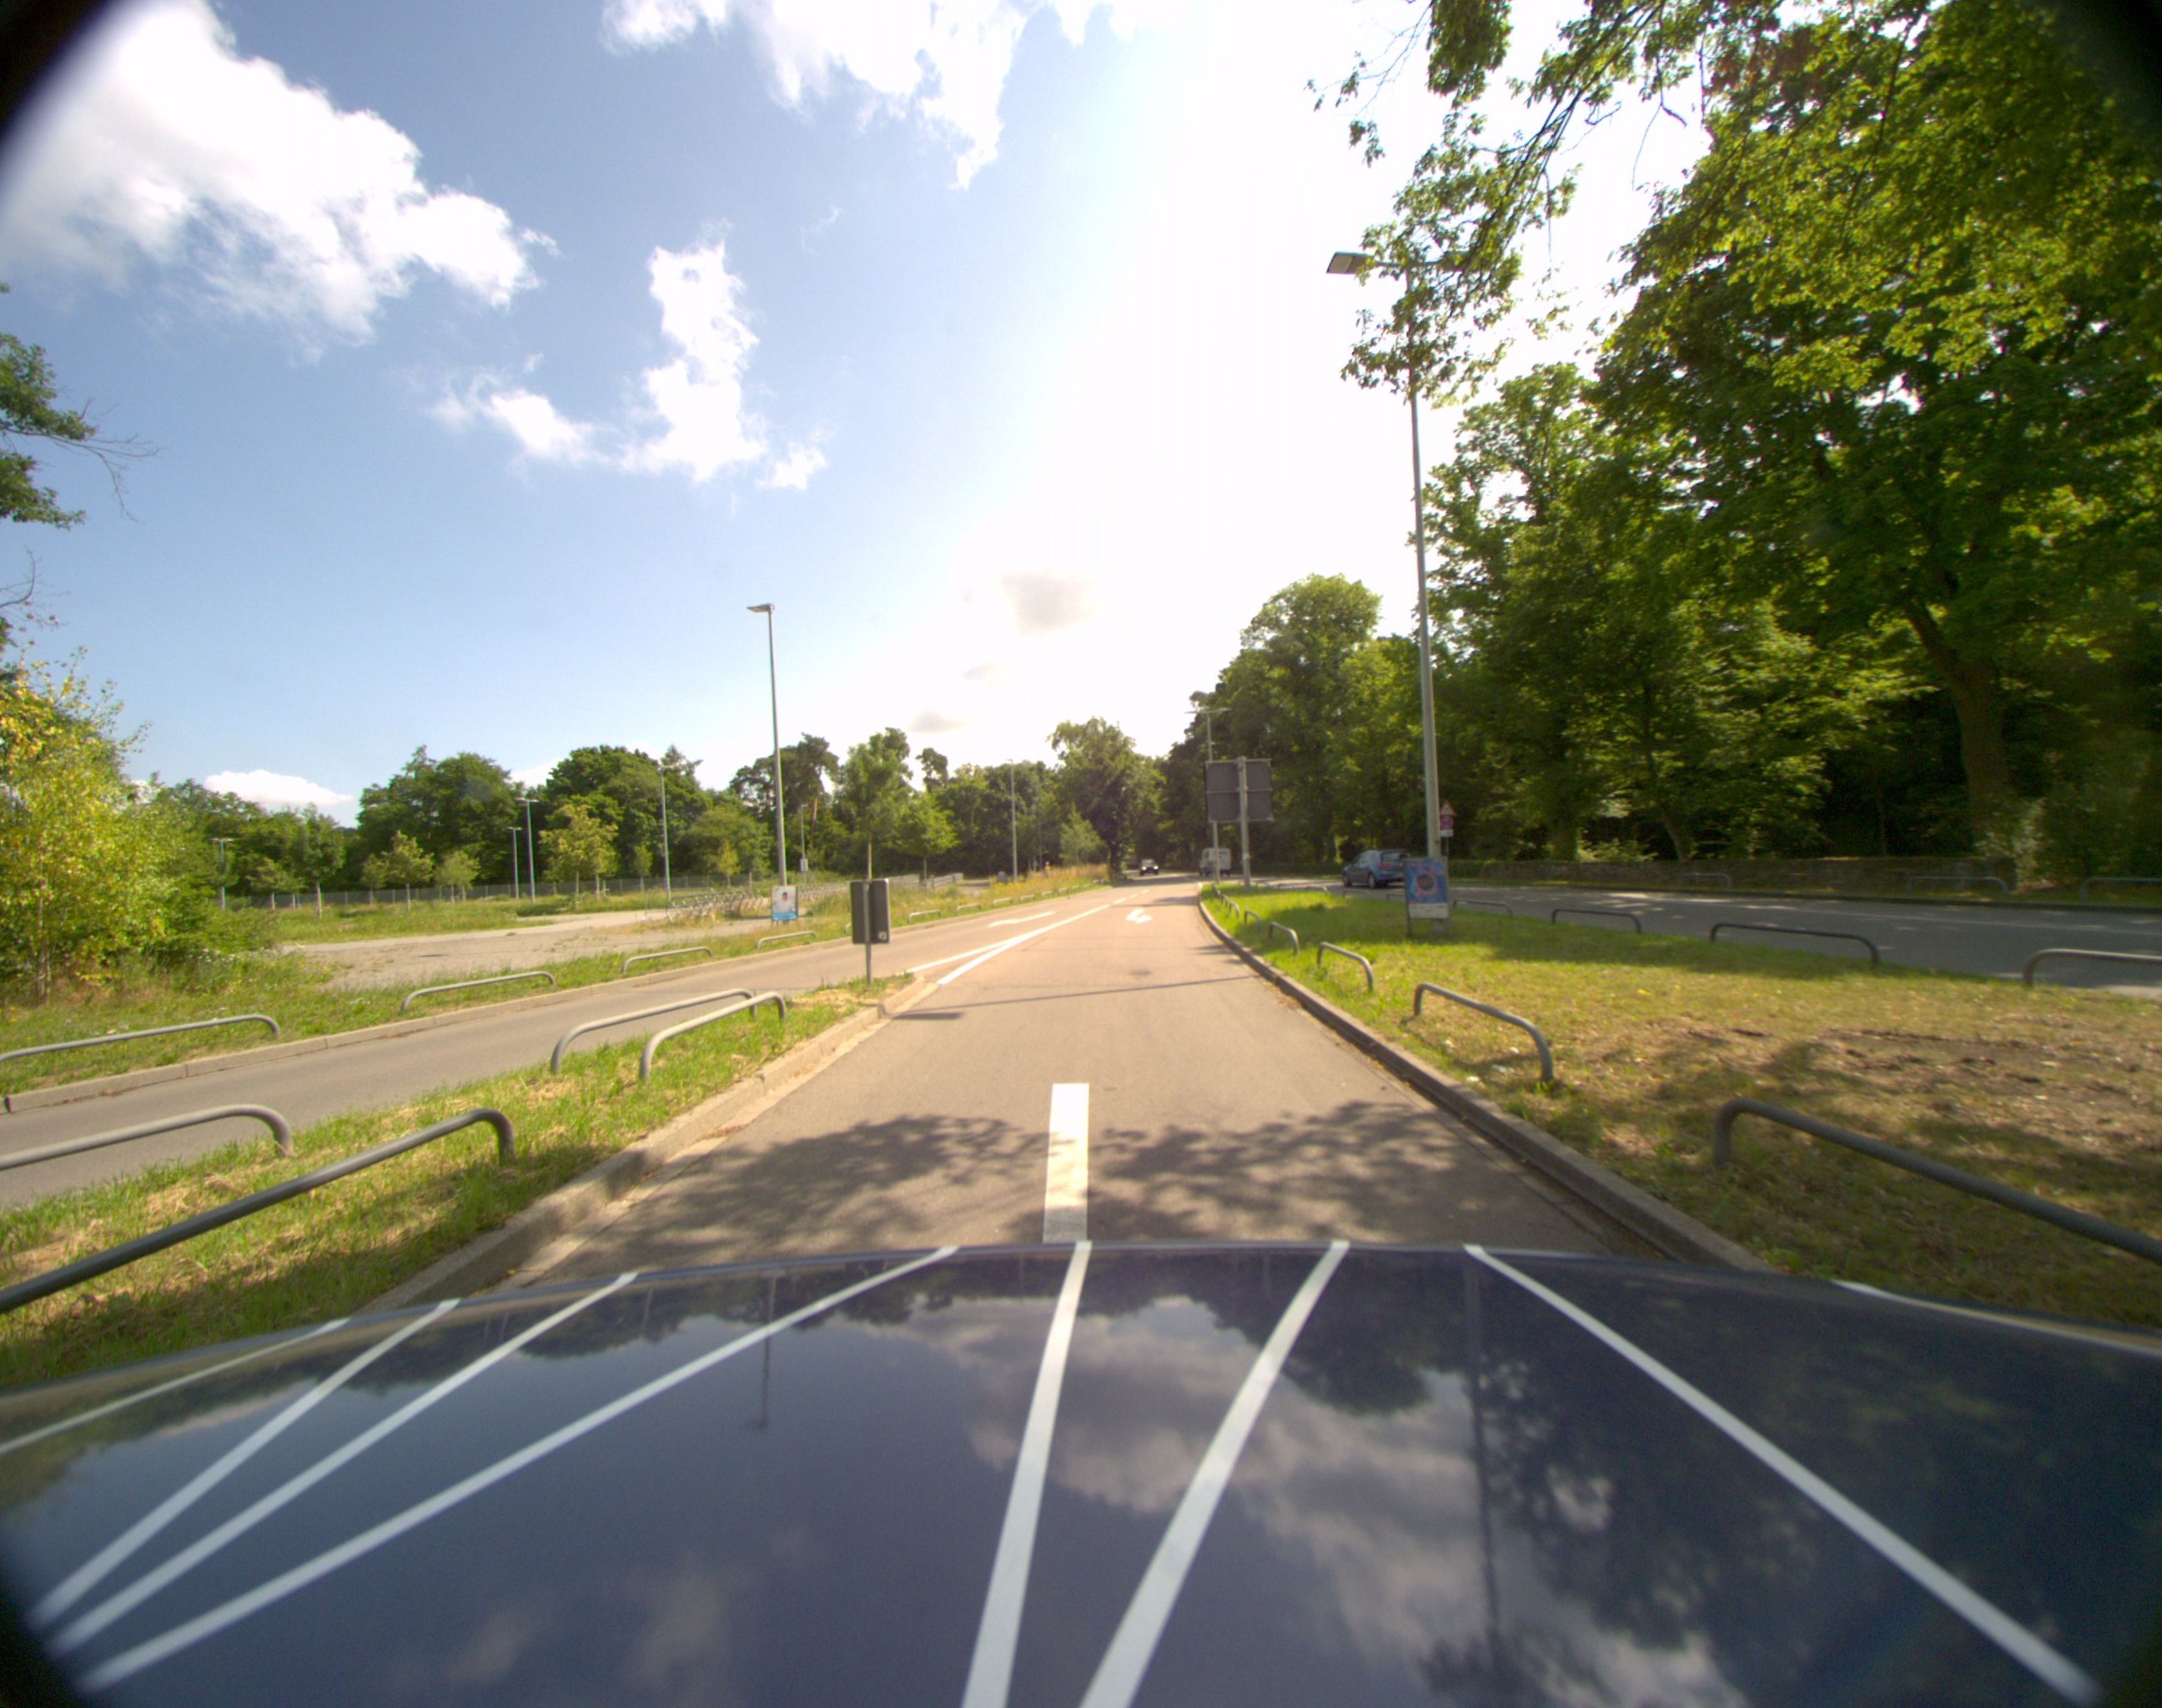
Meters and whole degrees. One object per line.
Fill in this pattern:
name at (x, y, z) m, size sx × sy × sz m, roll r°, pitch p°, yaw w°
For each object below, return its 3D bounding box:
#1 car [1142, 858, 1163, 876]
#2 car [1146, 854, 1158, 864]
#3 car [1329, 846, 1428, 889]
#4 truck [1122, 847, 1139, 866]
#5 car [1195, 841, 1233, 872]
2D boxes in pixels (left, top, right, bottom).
car at (7.991, 1.409, 85.577) m, size 1.980 × 1.754 × 4.707 m, roll -3°, pitch 1°, yaw 2°
car at (11.684, 0.851, 125.254) m, size 1.655 × 1.461 × 3.871 m, roll -2°, pitch 1°, yaw 3°
car at (11.423, 0.500, 29.452) m, size 1.700 × 1.438 × 4.063 m, roll -4°, pitch 1°, yaw -8°
truck at (10.042, 0.474, 154.414) m, size 2.914 × 3.609 × 7.004 m, roll -2°, pitch 1°, yaw 1°
car at (11.383, 0.221, 65.250) m, size 1.980 × 2.417 × 5.361 m, roll -4°, pitch 1°, yaw -2°
